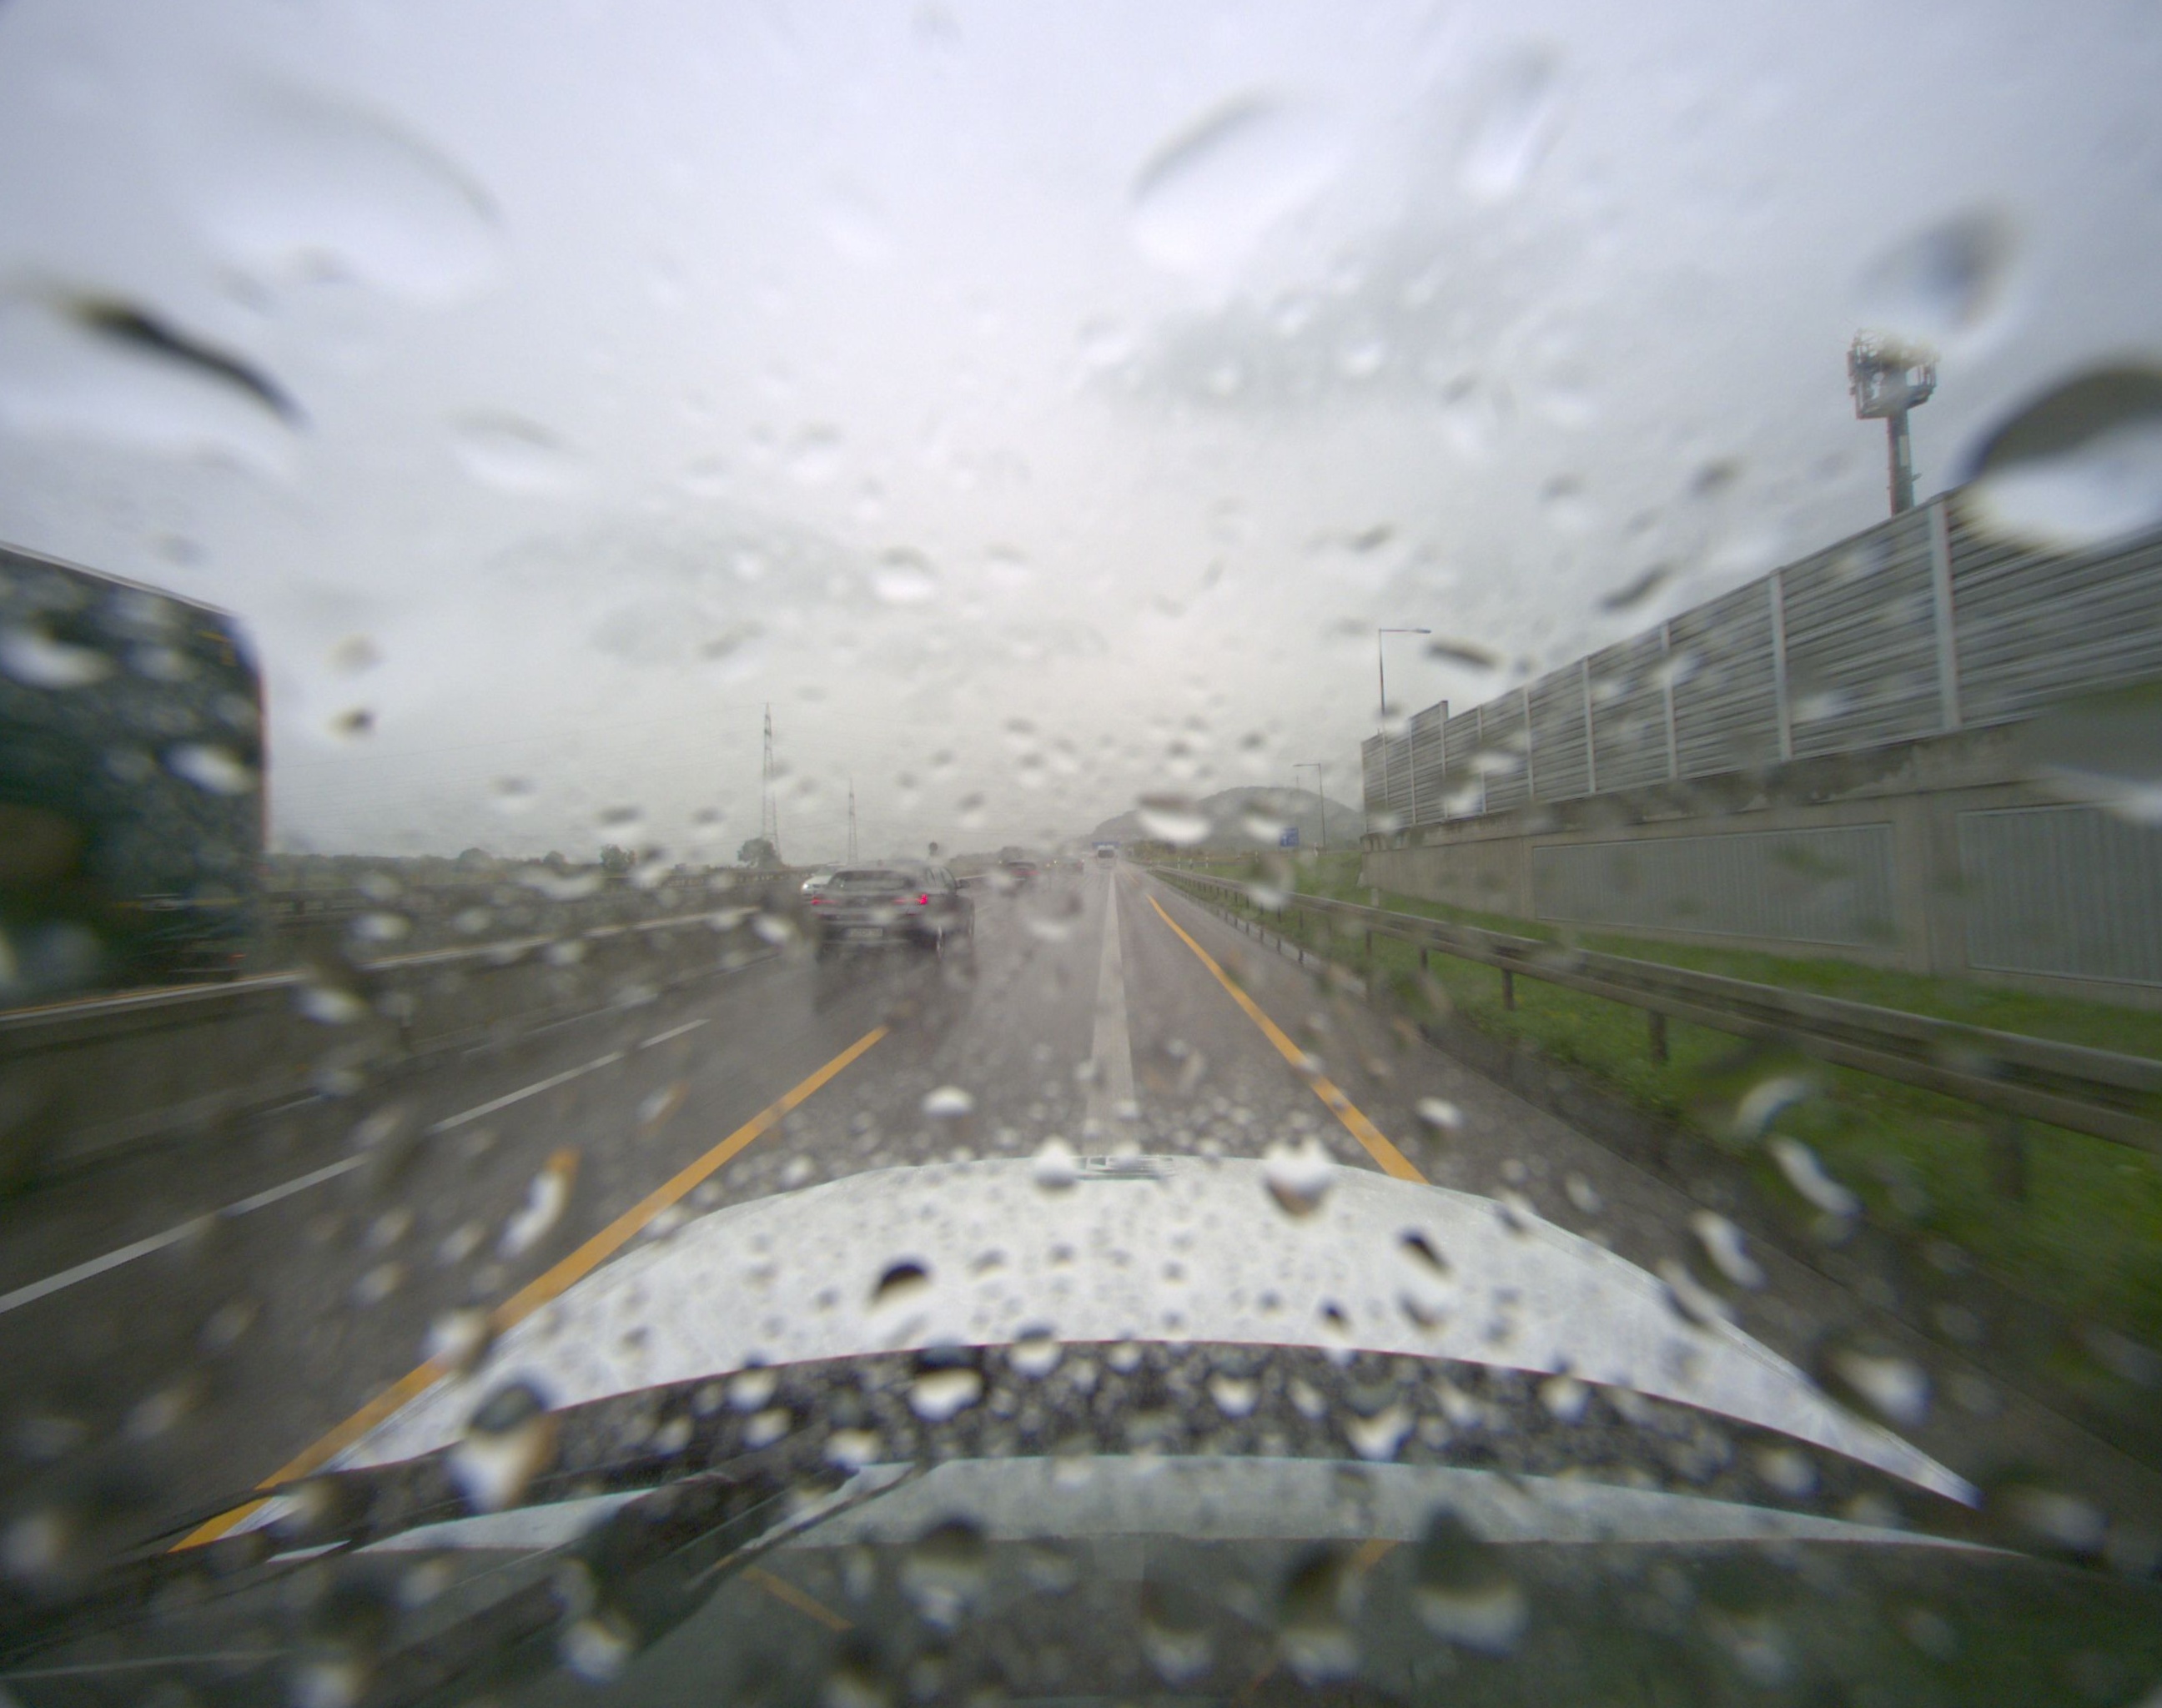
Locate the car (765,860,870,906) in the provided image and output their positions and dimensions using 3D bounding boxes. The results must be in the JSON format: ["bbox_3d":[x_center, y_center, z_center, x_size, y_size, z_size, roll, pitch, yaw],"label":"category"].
[{"bbox_3d":[-9.090,0.956,28.632,1.721,1.437,5.440,0,0,2],"label":"car"}]

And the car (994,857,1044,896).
[{"bbox_3d":[-2.464,0.915,33.187,1.839,1.491,4.258,-1,-2,-2],"label":"car"}]

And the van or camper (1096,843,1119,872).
[{"bbox_3d":[2.636,0.414,80.937,1.991,2.778,4.046,-1,-2,-2],"label":"van or camper"}]

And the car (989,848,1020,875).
[{"bbox_3d":[-7.730,0.762,83.281,2.061,2.517,6.183,-2,-1,4],"label":"car"}]

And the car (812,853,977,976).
[{"bbox_3d":[-2.781,0.865,13.223,1.696,1.598,4.841,-1,-2,-2],"label":"car"}]

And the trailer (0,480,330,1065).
[{"bbox_3d":[-9.681,-0.624,2.047,2.571,4.457,13.559,-1,0,2],"label":"trailer"}]

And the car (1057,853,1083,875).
[{"bbox_3d":[-0.856,0.760,61.689,1.839,1.491,4.259,-3,0,-1],"label":"car"}]
